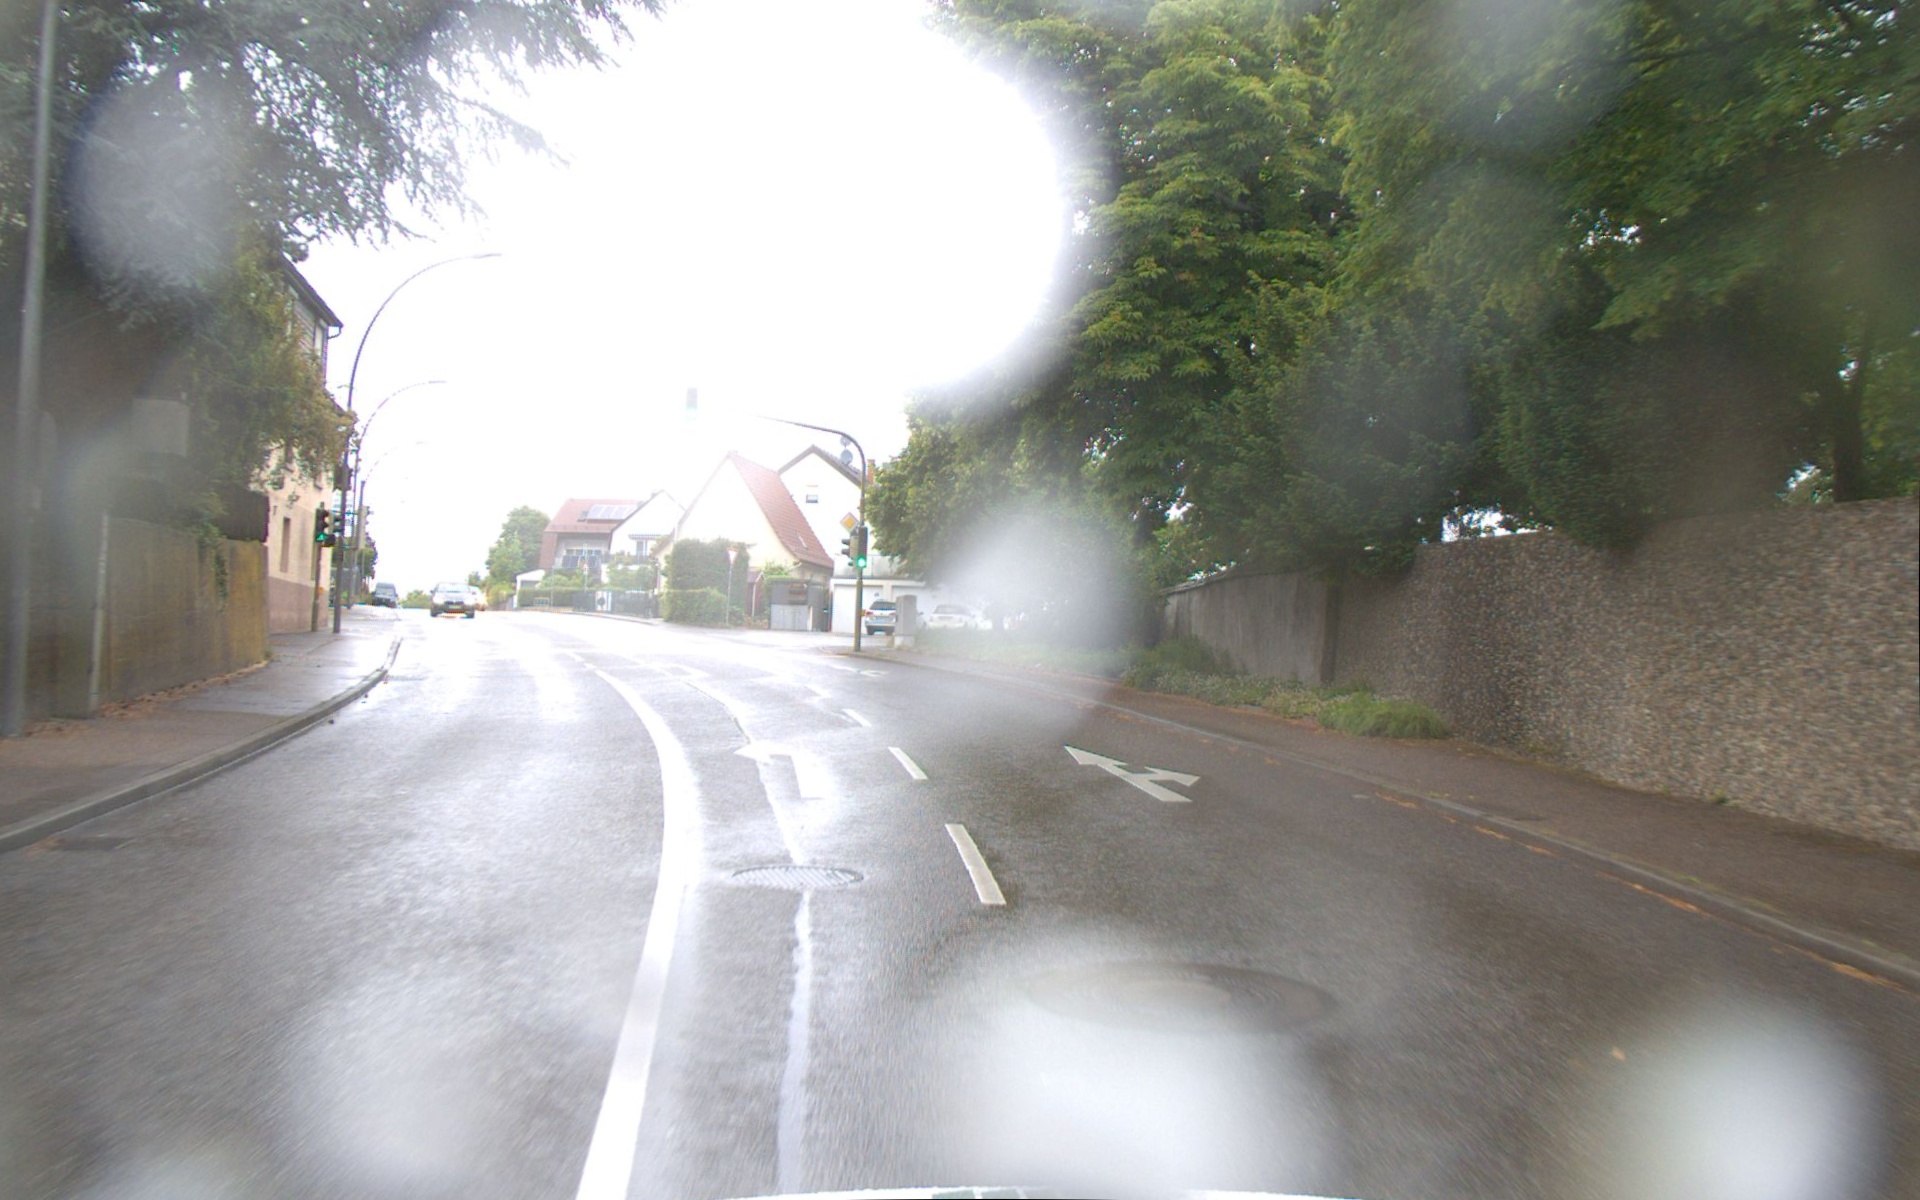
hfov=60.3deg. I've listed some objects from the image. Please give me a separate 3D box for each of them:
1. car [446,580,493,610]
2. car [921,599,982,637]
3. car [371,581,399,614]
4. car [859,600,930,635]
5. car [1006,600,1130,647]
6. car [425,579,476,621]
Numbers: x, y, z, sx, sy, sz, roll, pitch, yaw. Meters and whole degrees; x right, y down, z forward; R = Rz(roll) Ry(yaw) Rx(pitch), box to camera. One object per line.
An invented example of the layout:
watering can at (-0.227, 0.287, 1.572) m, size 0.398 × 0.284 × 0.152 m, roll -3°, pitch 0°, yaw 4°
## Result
car at (-28.463, -0.315, 95.953) m, size 1.920 × 1.601 × 4.191 m, roll 2°, pitch 0°, yaw -26°
car at (-0.344, 0.736, 71.030) m, size 1.951 × 1.557 × 4.003 m, roll 1°, pitch 0°, yaw 10°
car at (-52.125, -0.225, 149.951) m, size 2.062 × 2.695 × 5.887 m, roll 4°, pitch -3°, yaw -18°
car at (-2.802, 0.733, 71.502) m, size 1.951 × 1.422 × 4.154 m, roll 1°, pitch 0°, yaw 14°
car at (3.792, 0.820, 58.511) m, size 4.095 × 1.467 × 1.831 m, roll 3°, pitch 0°, yaw -6°
car at (-22.309, -0.016, 72.316) m, size 1.963 × 1.735 × 3.978 m, roll 2°, pitch 0°, yaw -19°
